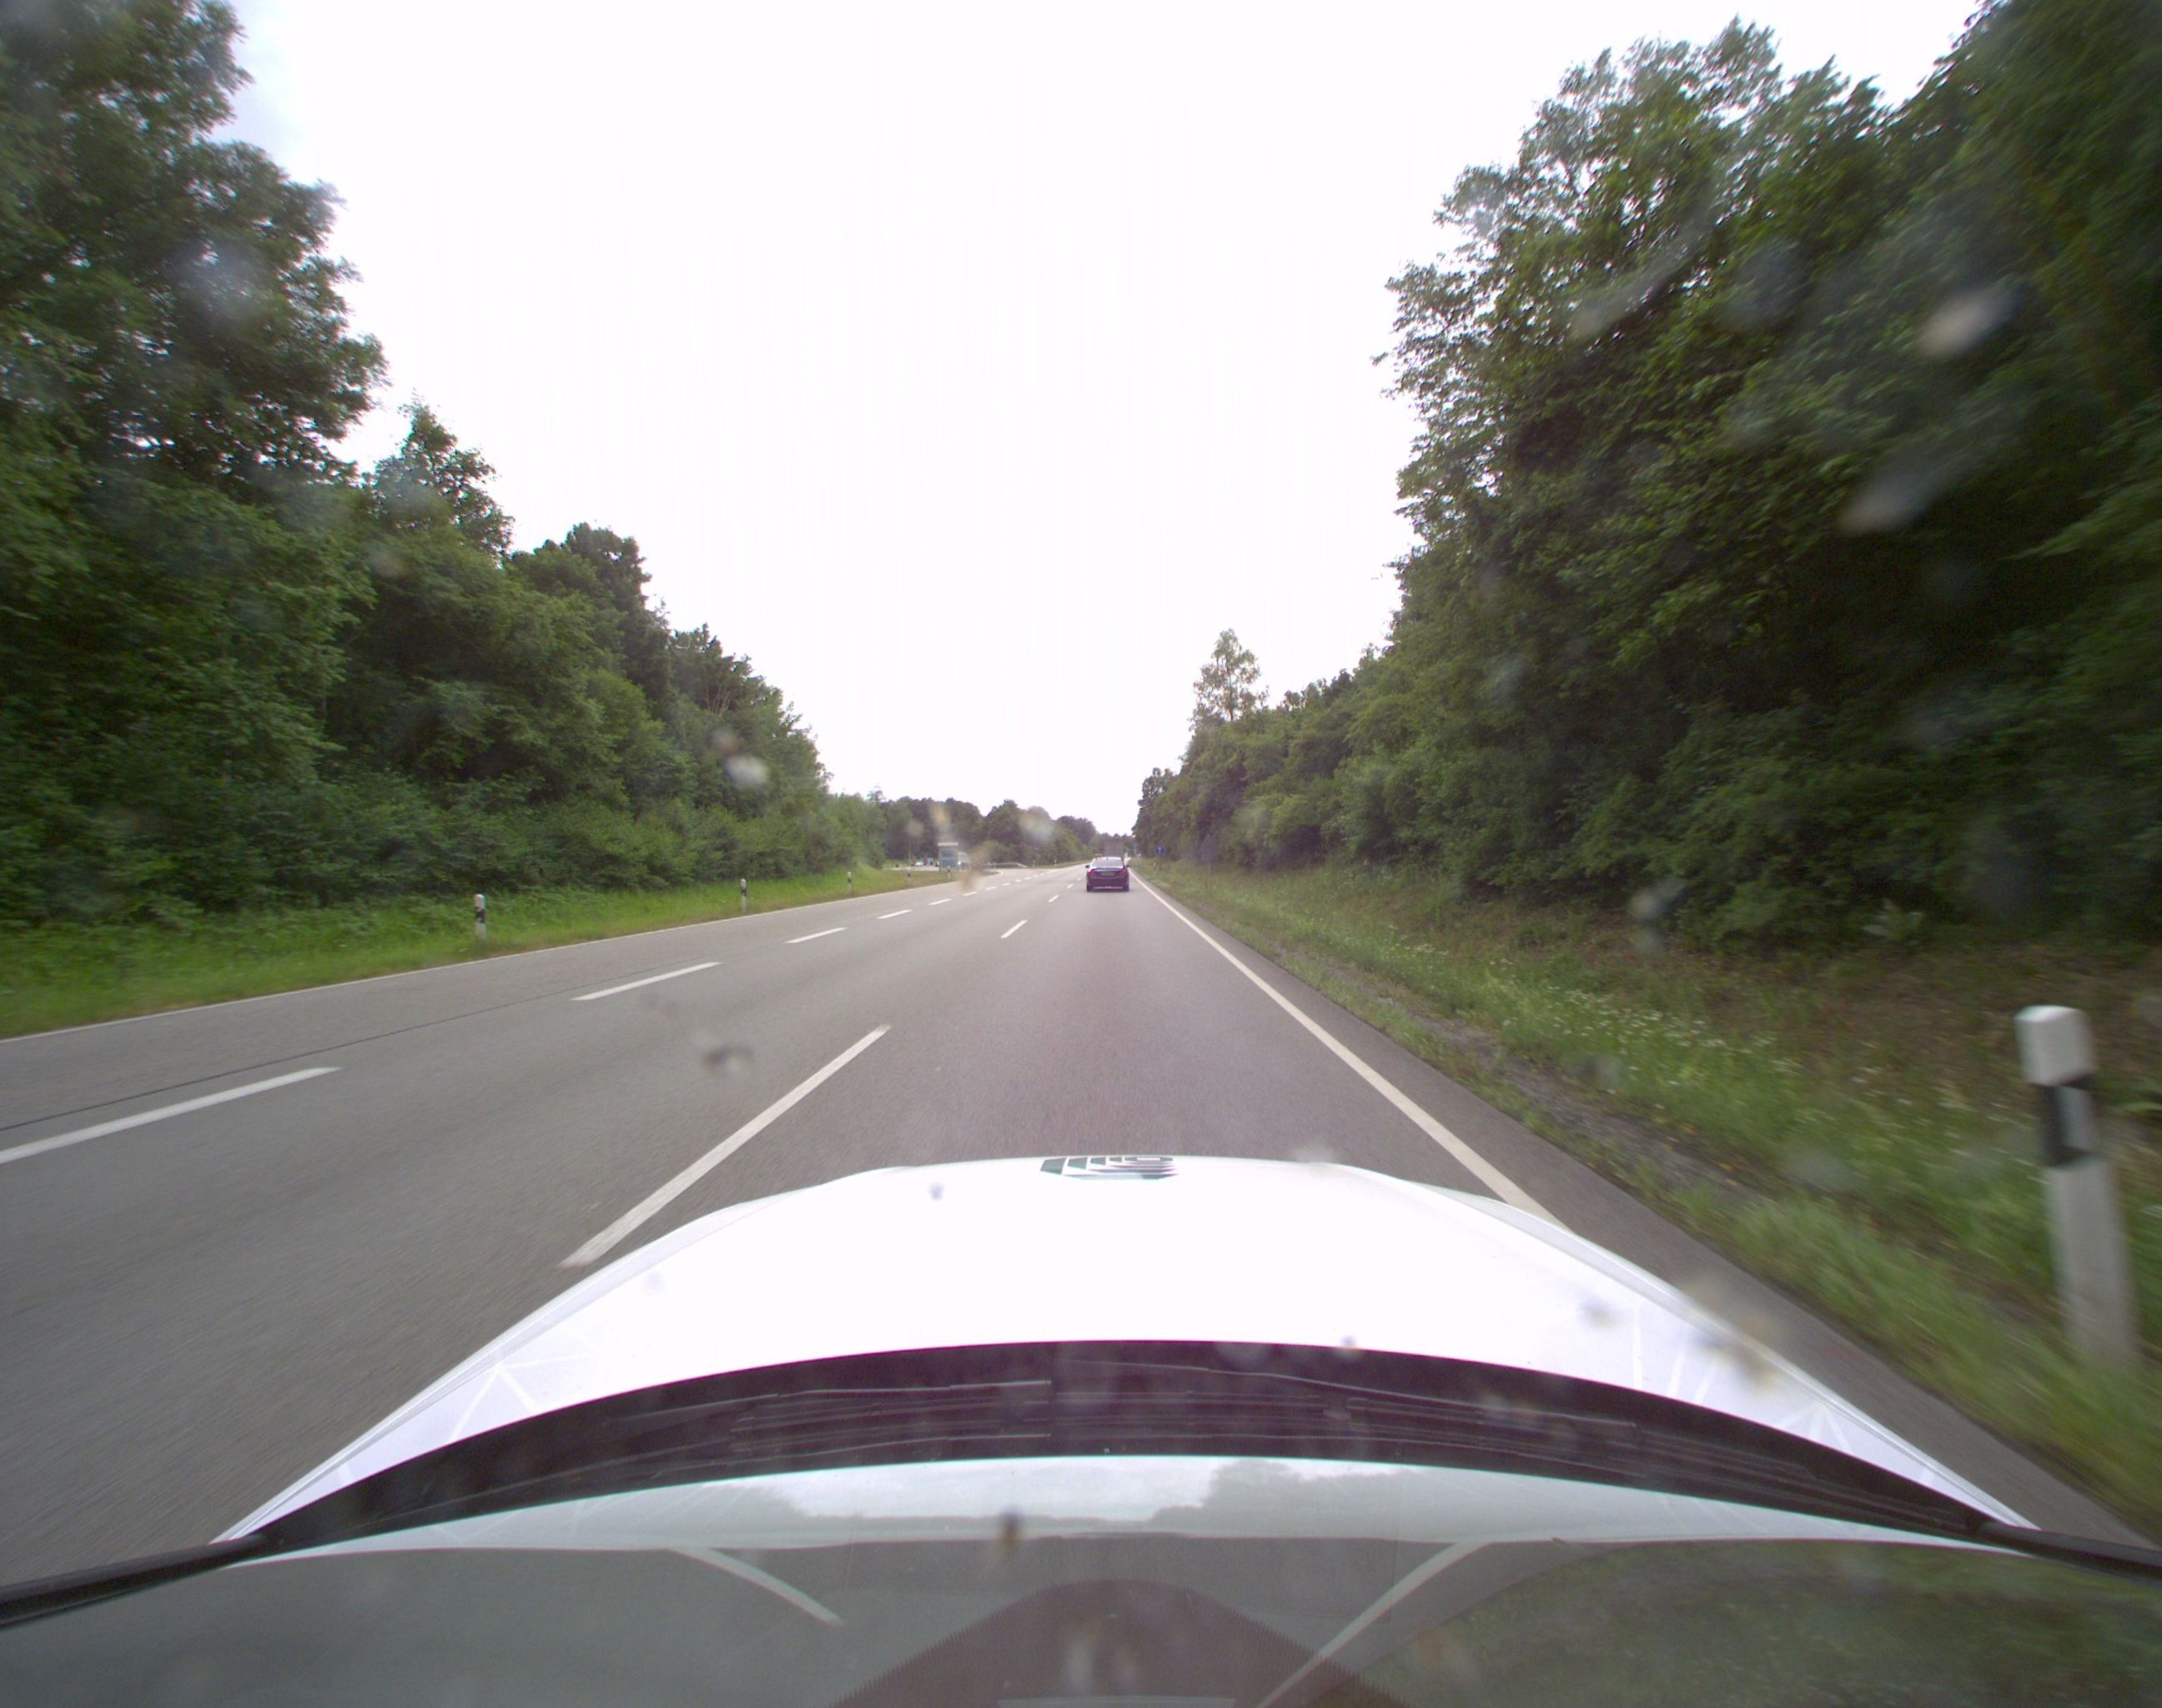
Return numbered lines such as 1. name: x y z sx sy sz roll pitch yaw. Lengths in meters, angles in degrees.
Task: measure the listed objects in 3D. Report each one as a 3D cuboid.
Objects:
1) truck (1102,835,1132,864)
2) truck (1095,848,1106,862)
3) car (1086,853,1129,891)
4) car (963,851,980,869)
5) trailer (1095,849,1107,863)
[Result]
1. truck: 4.883 -0.571 107.718 3.265 3.611 11.417 0 0 6
2. truck: 5.943 0.303 248.013 3.176 4.062 9.582 0 -1 3
3. car: 1.150 0.757 35.886 1.784 1.552 4.001 0 -1 2
4. car: -16.535 0.930 122.502 2.256 2.529 7.140 -3 0 -9
5. trailer: 6.269 0.645 254.048 3.190 4.067 14.281 0 0 3
